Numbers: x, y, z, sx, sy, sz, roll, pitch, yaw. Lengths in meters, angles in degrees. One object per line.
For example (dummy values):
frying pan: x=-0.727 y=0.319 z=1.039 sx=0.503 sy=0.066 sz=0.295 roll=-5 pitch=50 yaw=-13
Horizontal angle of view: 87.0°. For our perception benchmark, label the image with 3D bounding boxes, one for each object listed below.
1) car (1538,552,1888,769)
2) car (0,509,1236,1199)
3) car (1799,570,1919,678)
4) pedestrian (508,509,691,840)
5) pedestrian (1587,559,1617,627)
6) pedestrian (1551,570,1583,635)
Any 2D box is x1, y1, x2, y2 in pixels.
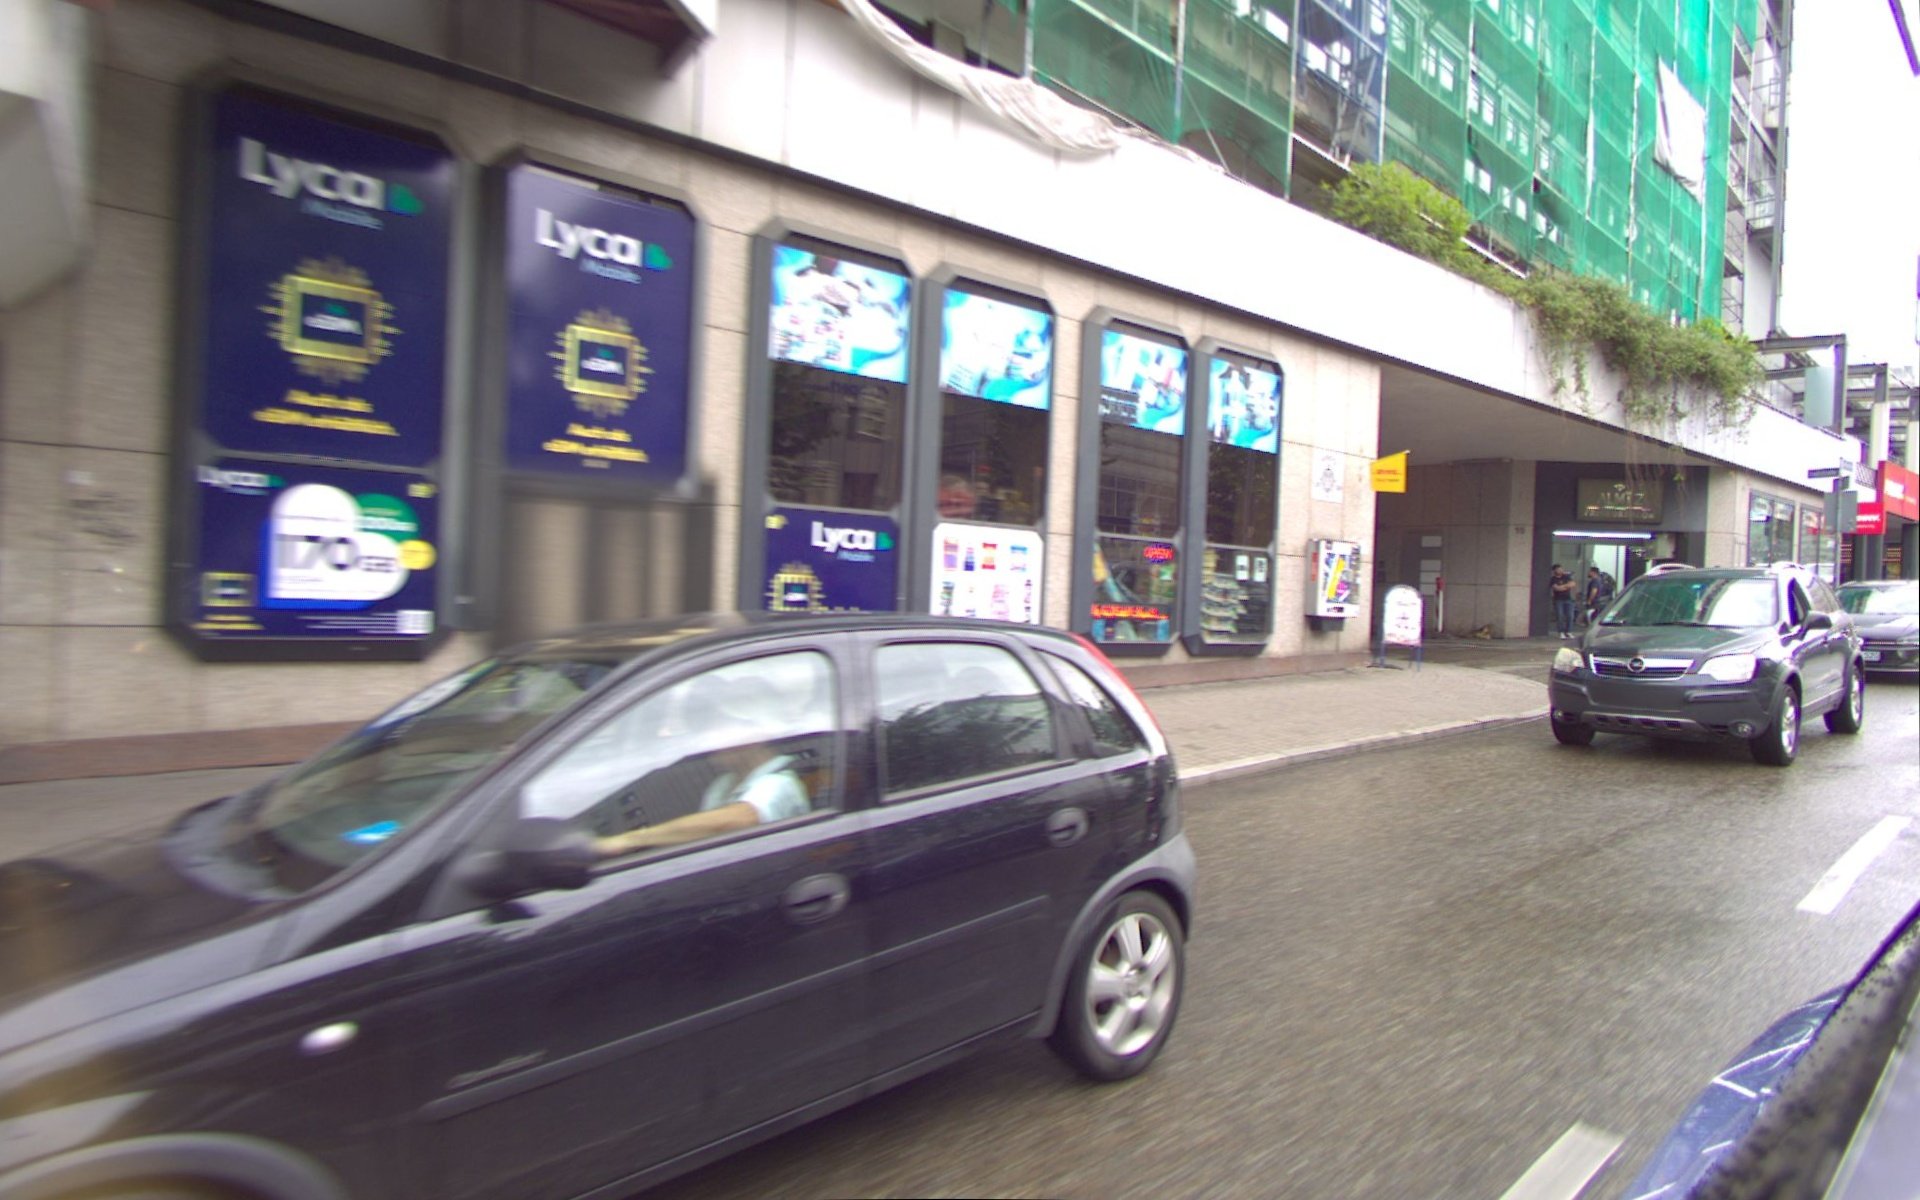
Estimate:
car: x=7.488 y=0.409 z=9.923 sx=4.172 sy=1.699 sz=1.735 roll=-2 pitch=2 yaw=-38
car: x=-0.960 y=0.607 z=2.798 sx=3.563 sy=1.459 sz=1.595 roll=2 pitch=0 yaw=-41
car: x=14.484 y=0.289 z=15.503 sx=3.707 sy=1.448 sz=1.683 roll=-2 pitch=2 yaw=-37
pedestrian: x=-2.217 y=0.384 z=6.164 sx=0.790 sy=1.799 sz=0.899 roll=-1 pitch=7 yaw=-37
pedestrian: x=14.581 y=-0.168 z=22.977 sx=0.516 sy=1.506 sz=0.428 roll=-2 pitch=4 yaw=-43
pedestrian: x=14.335 y=0.049 z=23.893 sx=0.517 sy=1.506 sz=0.427 roll=1 pitch=3 yaw=18
